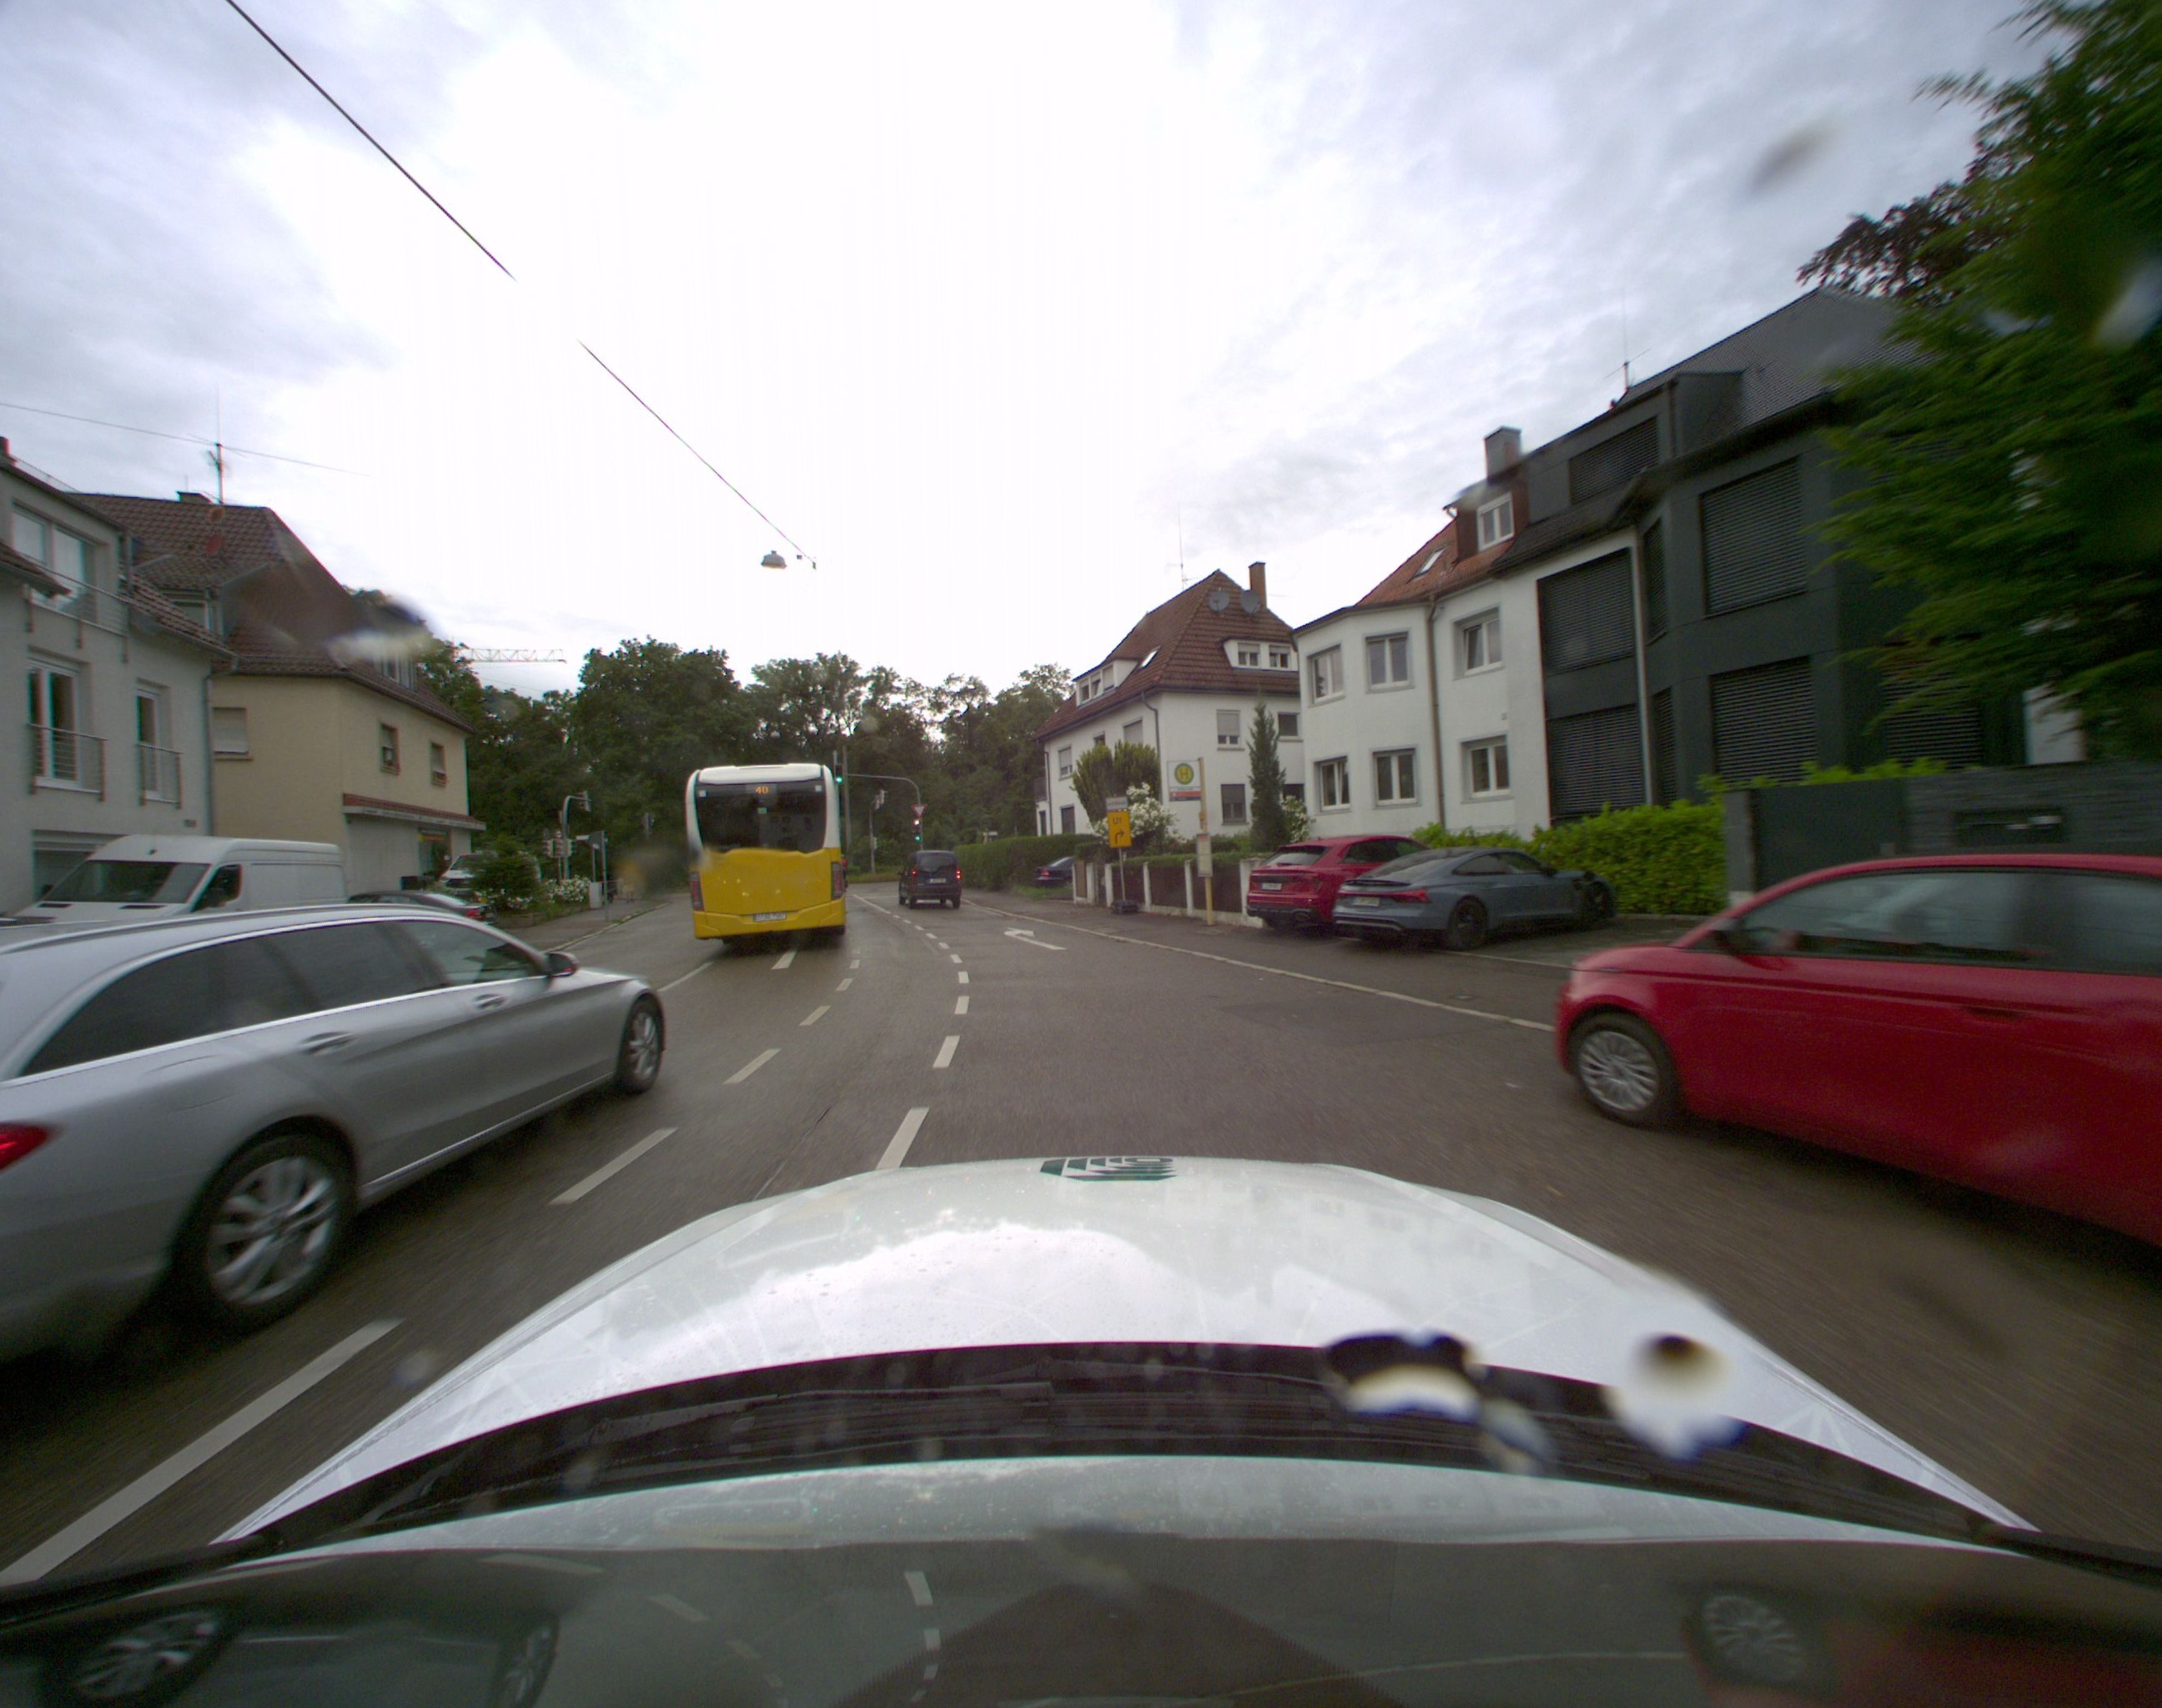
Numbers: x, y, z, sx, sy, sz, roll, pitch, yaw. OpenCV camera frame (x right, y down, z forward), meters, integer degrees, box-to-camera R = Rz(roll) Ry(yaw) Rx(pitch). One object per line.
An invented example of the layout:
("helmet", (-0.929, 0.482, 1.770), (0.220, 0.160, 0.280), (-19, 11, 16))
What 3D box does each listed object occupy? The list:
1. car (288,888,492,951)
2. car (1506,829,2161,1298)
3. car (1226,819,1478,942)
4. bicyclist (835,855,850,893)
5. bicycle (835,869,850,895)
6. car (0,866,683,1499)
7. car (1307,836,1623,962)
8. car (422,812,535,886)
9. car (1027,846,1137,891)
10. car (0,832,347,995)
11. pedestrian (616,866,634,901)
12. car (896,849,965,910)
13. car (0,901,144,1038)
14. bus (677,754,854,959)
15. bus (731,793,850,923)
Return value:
("car", (-18.174, 1.684, 21.685), (3.841, 1.344, 1.787), (-1, 0, -30))
("car", (4.026, 0.675, 3.778), (1.616, 1.537, 3.519), (-1, 0, -18))
("car", (4.884, 0.390, 14.625), (4.098, 1.750, 1.981), (-4, 1, -29))
("bicyclist", (-10.757, 0.900, 36.746), (0.579, 1.652, 1.043), (-1, 0, -16))
("bicycle", (-10.762, 1.265, 36.795), (0.579, 1.096, 2.143), (-1, 0, -15))
("car", (-3.923, 0.917, 3.954), (1.990, 1.479, 4.479), (-3, 1, -5))
("car", (5.960, 0.573, 12.583), (4.572, 1.416, 1.983), (-4, 1, -27))
("car", (-22.017, -0.152, 30.035), (2.002, 2.448, 5.453), (-1, 0, -22))
("car", (0.049, 0.499, 30.448), (3.758, 1.388, 1.605), (-3, 2, -22))
("car", (-16.585, 0.931, 15.296), (1.999, 2.448, 5.461), (-1, 0, -17))
("pedestrian", (-21.153, 1.369, 37.768), (0.603, 1.618, 0.428), (-1, -1, -40))
("car", (-5.095, 0.826, 27.155), (1.813, 1.797, 3.977), (-3, -1, -16))
("car", (-14.112, 1.435, 9.032), (1.780, 1.495, 4.713), (-1, 0, 36))
("bus", (-6.642, 0.011, 18.117), (2.684, 3.398, 8.629), (-3, 1, -17))
("bus", (-9.280, 0.094, 26.566), (2.908, 3.398, 8.986), (-3, 1, -18))
